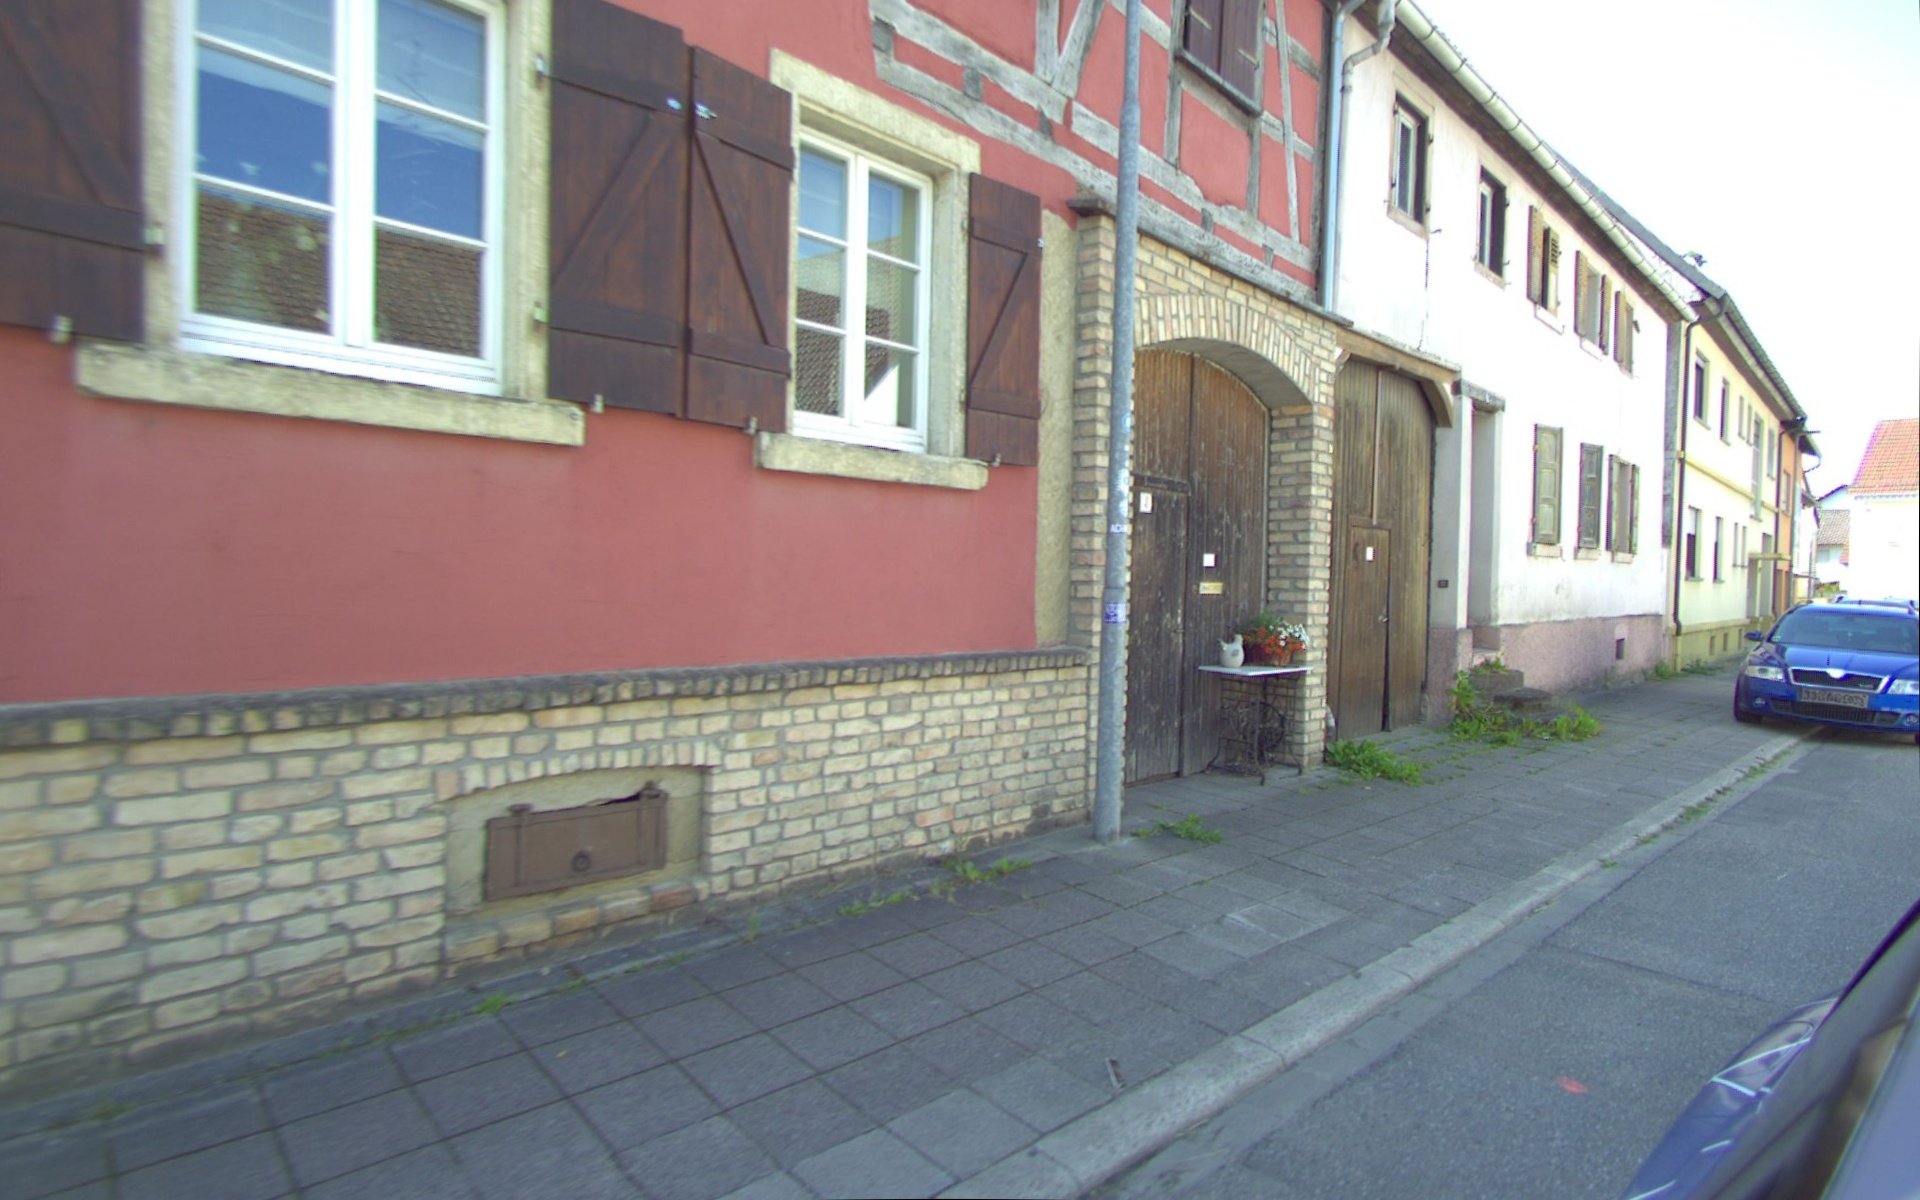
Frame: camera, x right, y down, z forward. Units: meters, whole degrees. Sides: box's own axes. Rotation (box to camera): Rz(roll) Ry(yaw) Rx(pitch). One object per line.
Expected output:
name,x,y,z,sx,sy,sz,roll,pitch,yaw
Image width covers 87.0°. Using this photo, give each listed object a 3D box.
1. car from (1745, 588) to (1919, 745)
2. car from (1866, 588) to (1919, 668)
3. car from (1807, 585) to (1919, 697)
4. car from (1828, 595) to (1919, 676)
car,10.649,0.649,11.911,1.700,1.487,4.339,4,3,44
car,22.820,0.620,23.819,4.178,1.749,1.900,0,1,-44
car,15.323,0.606,16.671,1.700,1.603,3.962,4,3,45
car,18.928,0.661,20.547,3.658,1.455,1.553,0,3,-44
